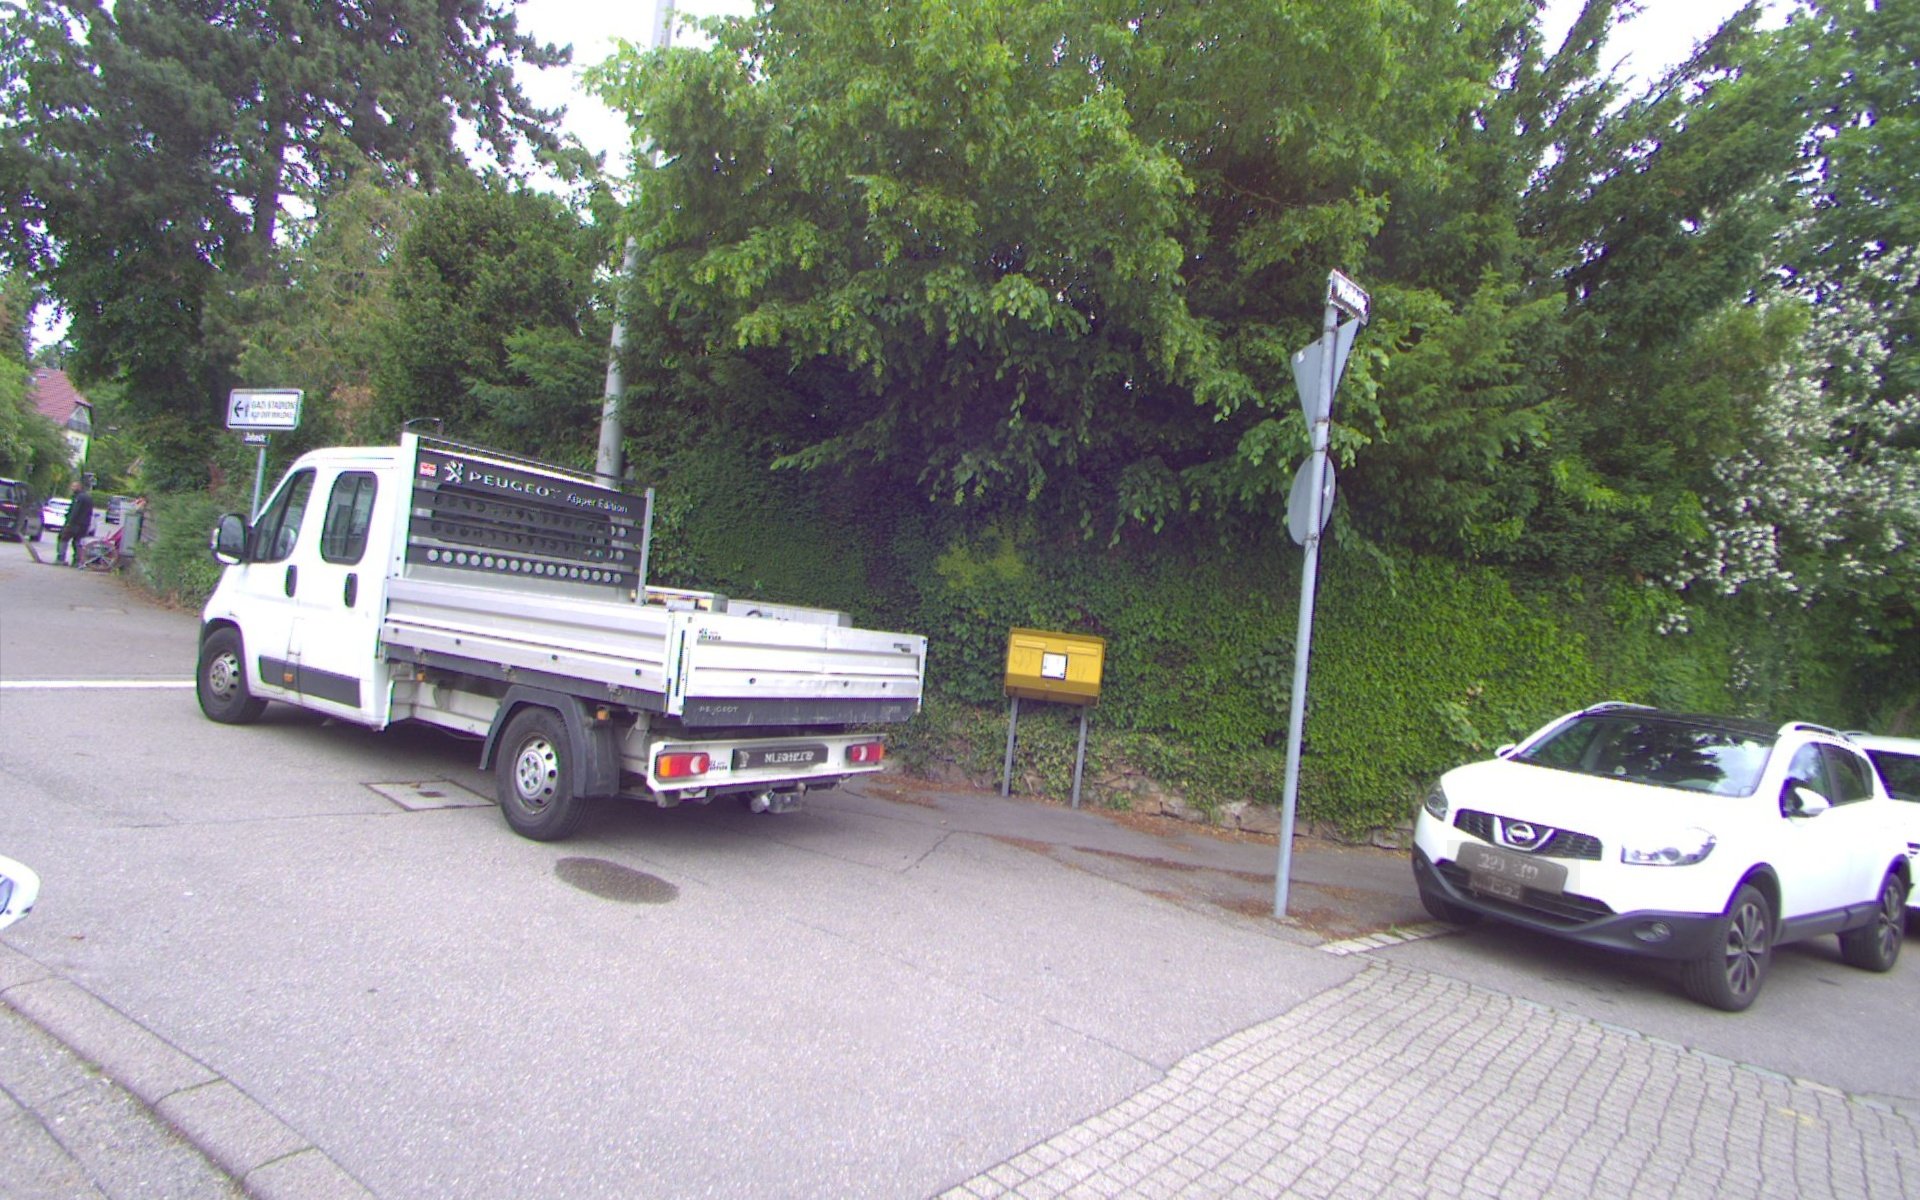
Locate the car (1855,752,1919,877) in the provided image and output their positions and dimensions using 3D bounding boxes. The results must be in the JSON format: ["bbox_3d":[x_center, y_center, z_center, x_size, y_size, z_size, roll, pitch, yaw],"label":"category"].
[{"bbox_3d":[13.587,2.936,13.381,4.040,1.440,1.780,8,-2,-38],"label":"car"}]

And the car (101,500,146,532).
[{"bbox_3d":[-59.138,-5.907,71.192,1.930,1.846,4.038,10,-2,-36],"label":"car"}]

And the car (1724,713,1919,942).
[{"bbox_3d":[8.980,2.118,9.505,4.041,1.641,1.780,9,-3,-38],"label":"car"}]

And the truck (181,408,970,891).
[{"bbox_3d":[-2.996,0.082,7.189,5.631,2.270,2.211,6,-2,34],"label":"truck"}]

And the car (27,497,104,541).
[{"bbox_3d":[-39.085,-3.511,44.058,1.832,1.476,4.040,10,-2,-34],"label":"car"}]

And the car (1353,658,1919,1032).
[{"bbox_3d":[4.703,1.471,6.690,4.098,1.641,1.783,9,-2,-34],"label":"car"}]

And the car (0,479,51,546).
[{"bbox_3d":[-30.667,-2.885,31.999,1.910,1.915,4.859,10,-2,-36],"label":"car"}]

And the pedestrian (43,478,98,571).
[{"bbox_3d":[-19.545,-1.648,22.115,0.549,1.929,0.597,7,-1,32],"label":"pedestrian"}]
